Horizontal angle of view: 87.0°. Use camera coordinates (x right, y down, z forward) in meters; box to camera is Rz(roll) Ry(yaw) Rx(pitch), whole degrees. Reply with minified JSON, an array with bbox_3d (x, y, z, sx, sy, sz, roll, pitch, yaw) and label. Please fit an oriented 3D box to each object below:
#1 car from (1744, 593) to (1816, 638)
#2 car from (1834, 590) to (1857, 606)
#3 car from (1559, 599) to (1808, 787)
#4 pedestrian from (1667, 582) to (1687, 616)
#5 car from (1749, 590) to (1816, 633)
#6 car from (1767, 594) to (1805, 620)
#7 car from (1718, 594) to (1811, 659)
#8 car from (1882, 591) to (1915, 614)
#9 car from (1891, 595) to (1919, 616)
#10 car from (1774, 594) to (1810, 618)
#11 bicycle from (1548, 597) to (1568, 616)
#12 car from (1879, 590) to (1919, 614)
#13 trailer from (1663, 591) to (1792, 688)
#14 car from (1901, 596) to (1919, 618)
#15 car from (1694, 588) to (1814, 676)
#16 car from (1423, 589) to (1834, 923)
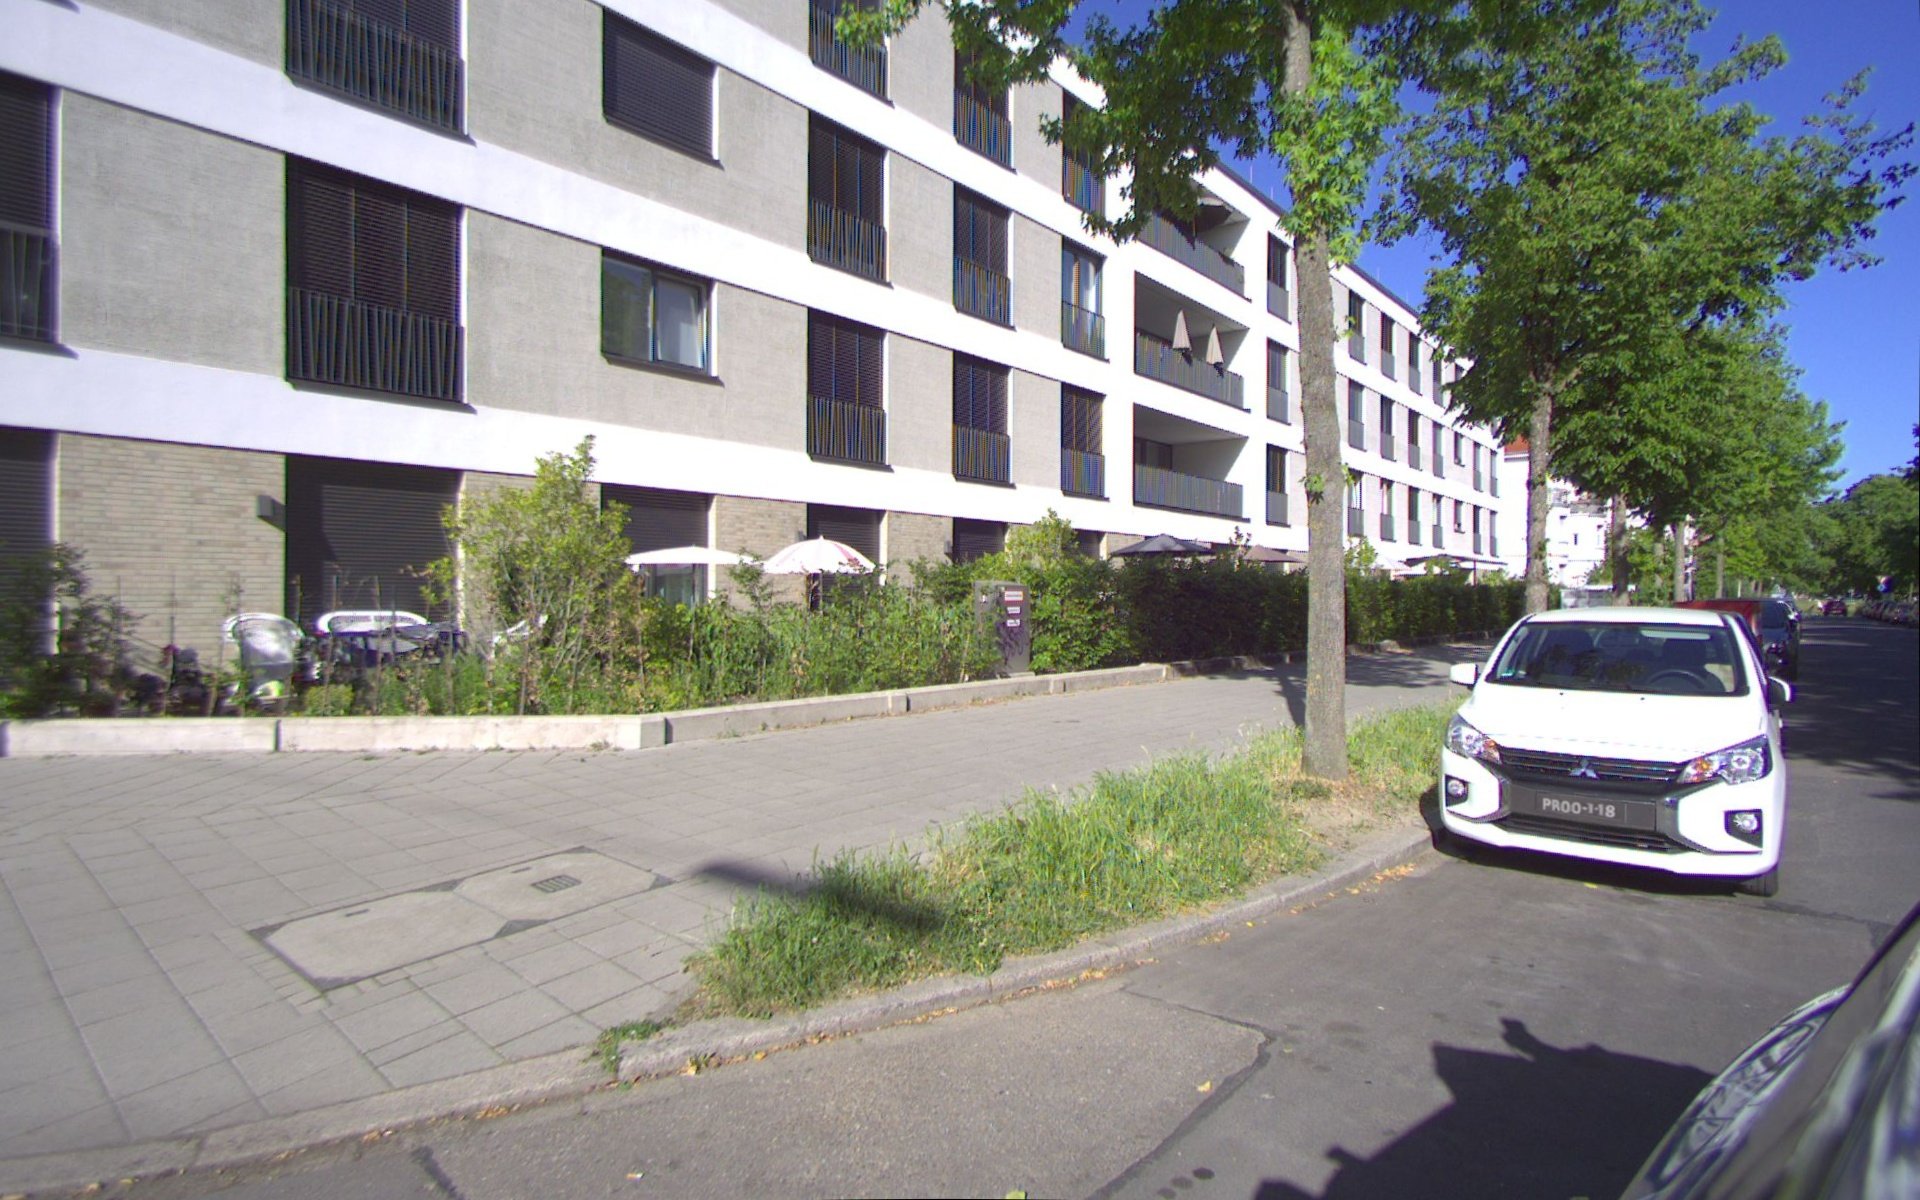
[{"bbox_3d":[29.886,0.513,36.988,1.776,1.537,4.627,0,0,36],"label":"car"},{"bbox_3d":[84.679,-0.219,96.806,1.660,1.483,3.396,2,1,41],"label":"car"},{"bbox_3d":[7.321,0.753,10.168,1.666,1.469,4.121,-2,-1,38],"label":"car"},{"bbox_3d":[42.967,-0.071,60.651,0.904,2.039,0.991,1,1,41],"label":"pedestrian"},{"bbox_3d":[33.641,0.426,41.350,1.896,1.668,4.788,0,0,42],"label":"car"},{"bbox_3d":[50.575,0.393,61.928,1.665,1.483,3.483,2,1,41],"label":"car"},{"bbox_3d":[20.839,0.623,26.157,1.716,1.536,4.281,0,0,41],"label":"car"},{"bbox_3d":[76.920,0.175,82.977,1.706,1.784,3.660,0,1,39],"label":"car"},{"bbox_3d":[70.526,0.371,75.026,1.796,1.498,3.946,1,1,37],"label":"car"},{"bbox_3d":[53.774,0.377,65.389,1.665,1.483,3.483,2,1,41],"label":"car"},{"bbox_3d":[28.375,0.298,48.037,0.562,0.906,1.586,0,0,40],"label":"bicycle"},{"bbox_3d":[73.665,0.142,79.395,1.880,1.830,3.864,0,1,36],"label":"car"},{"bbox_3d":[13.902,0.663,18.285,1.573,1.599,3.143,-2,-1,42],"label":"trailer"},{"bbox_3d":[63.116,0.457,66.504,1.599,1.408,3.757,1,1,40],"label":"car"},{"bbox_3d":[16.901,0.607,21.517,1.789,1.664,4.750,-2,-1,39],"label":"car"},{"bbox_3d":[4.476,0.694,6.674,1.729,1.506,3.954,0,0,38],"label":"car"}]
